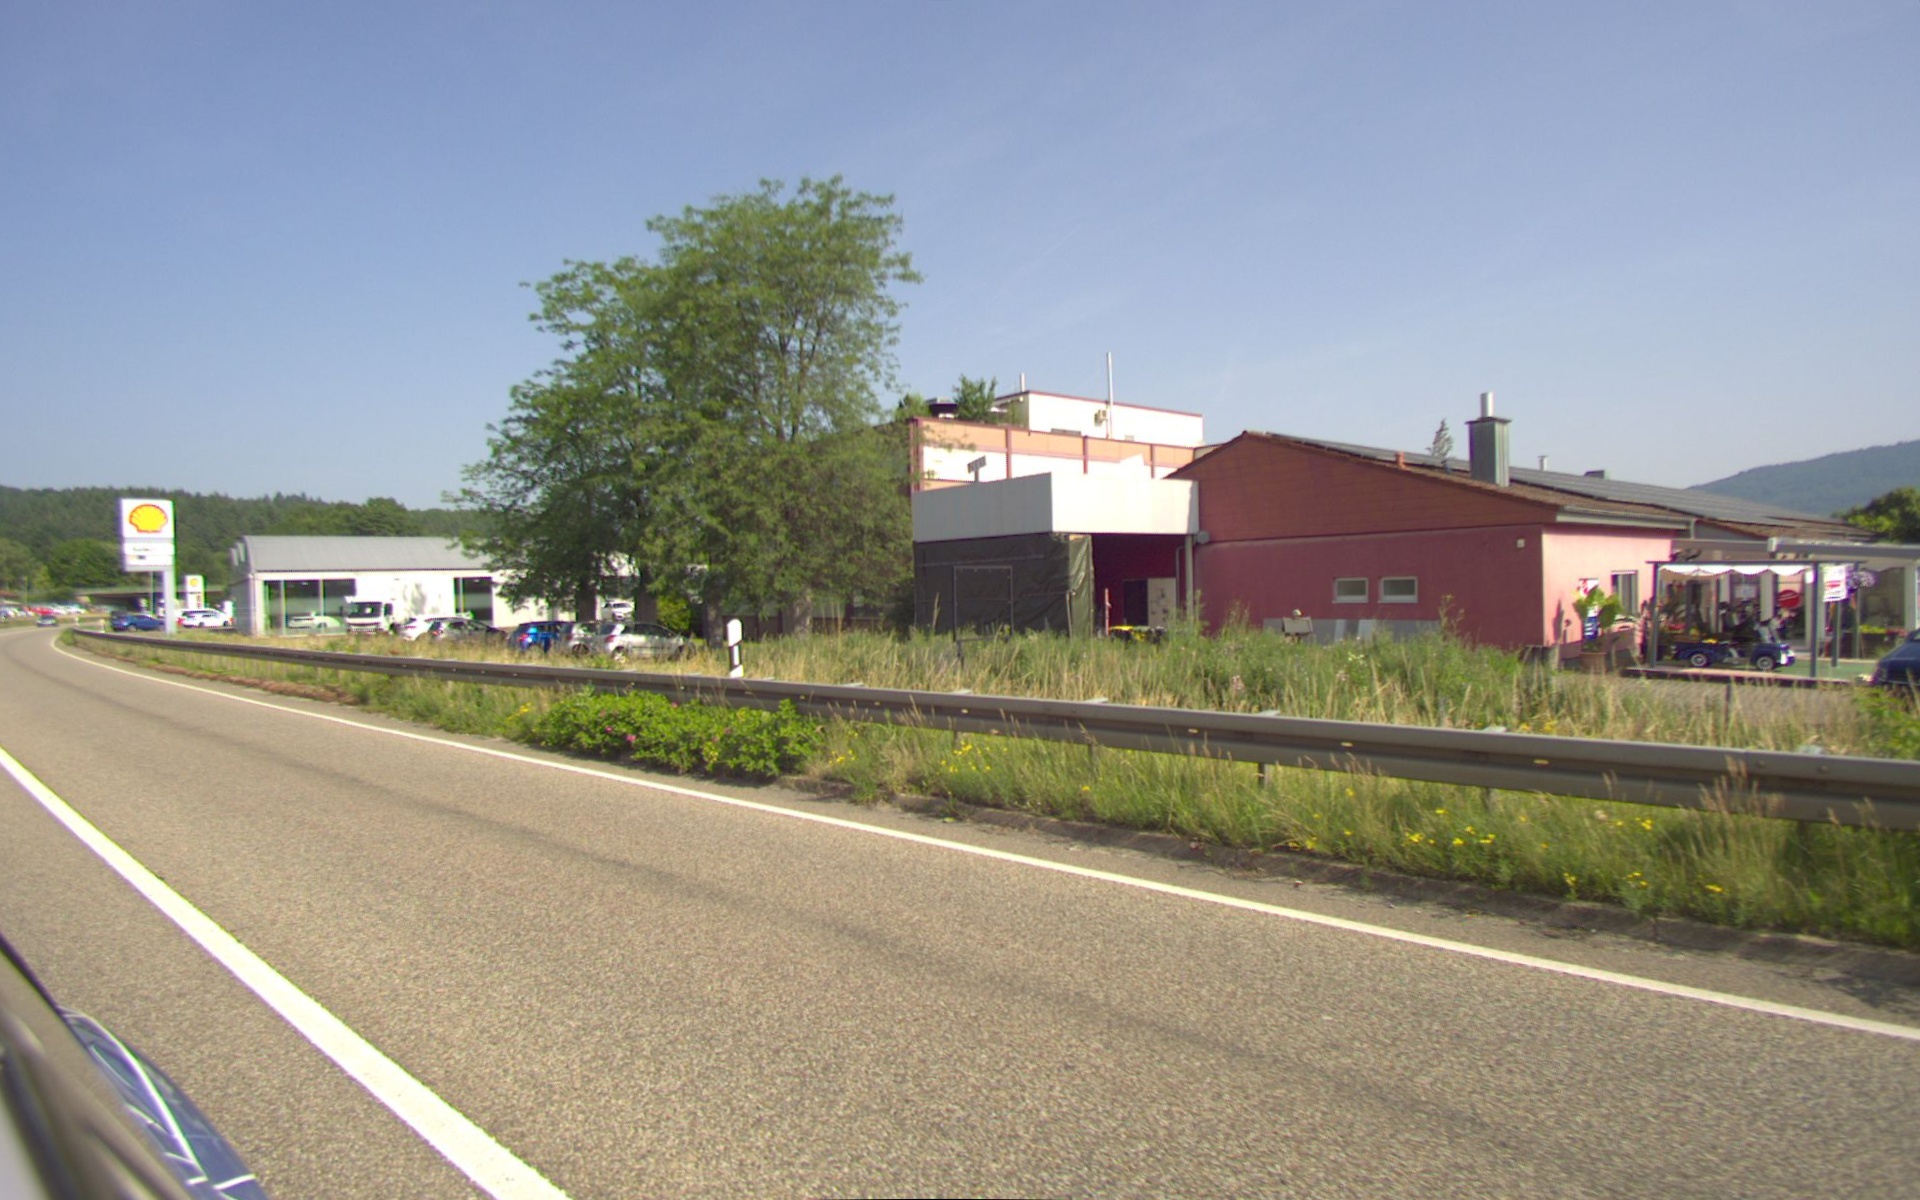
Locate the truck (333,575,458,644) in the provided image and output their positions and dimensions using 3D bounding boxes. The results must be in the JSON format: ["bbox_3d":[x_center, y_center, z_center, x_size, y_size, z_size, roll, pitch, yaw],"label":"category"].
[{"bbox_3d":[-32.127,0.472,58.015,2.766,3.583,8.216,-2,0,-2],"label":"truck"}]

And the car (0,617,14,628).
[{"bbox_3d":[-134.336,3.151,140.620,3.983,1.518,1.811,0,-1,-30],"label":"car"}]

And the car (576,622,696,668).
[{"bbox_3d":[-11.673,1.582,36.627,1.862,1.471,3.705,-1,0,44],"label":"car"}]

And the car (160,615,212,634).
[{"bbox_3d":[-88.388,2.769,115.647,4.612,1.871,2.148,-3,1,-39],"label":"car"}]

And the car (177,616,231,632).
[{"bbox_3d":[-77.380,2.470,103.622,1.878,1.413,4.216,-1,1,11],"label":"car"}]

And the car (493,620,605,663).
[{"bbox_3d":[-16.447,1.625,40.613,1.933,1.511,3.706,-1,1,44],"label":"car"}]

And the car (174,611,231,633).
[{"bbox_3d":[-80.706,2.324,107.829,4.732,1.996,2.233,-4,1,-39],"label":"car"}]

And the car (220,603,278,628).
[{"bbox_3d":[-86.620,1.899,123.376,5.647,2.765,2.290,-3,1,-37],"label":"car"}]

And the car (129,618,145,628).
[{"bbox_3d":[-142.138,3.926,174.836,1.768,1.642,4.237,1,-1,-35],"label":"car"}]

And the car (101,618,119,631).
[{"bbox_3d":[-128.489,3.744,152.958,1.889,1.899,4.920,1,-1,-38],"label":"car"}]

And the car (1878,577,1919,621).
[{"bbox_3d":[37.061,-0.056,37.258,1.716,1.620,4.637,-1,-1,-41],"label":"car"}]

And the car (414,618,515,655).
[{"bbox_3d":[-22.800,1.641,46.615,1.932,1.511,3.708,-1,1,42],"label":"car"}]

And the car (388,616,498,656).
[{"bbox_3d":[-24.778,1.667,48.594,1.932,1.667,4.304,-1,1,42],"label":"car"}]

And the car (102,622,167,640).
[{"bbox_3d":[-73.976,2.773,90.743,1.964,1.518,4.217,-1,-1,11],"label":"car"}]

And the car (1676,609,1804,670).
[{"bbox_3d":[15.980,0.775,20.766,2.017,1.154,0.805,0,1,44],"label":"car"}]

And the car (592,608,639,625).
[{"bbox_3d":[-25.675,1.248,75.323,1.702,1.209,4.002,-1,0,-45],"label":"car"}]

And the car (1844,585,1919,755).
[{"bbox_3d":[13.858,0.798,12.338,4.826,2.029,2.004,-1,-1,-10],"label":"car"}]

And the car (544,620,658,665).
[{"bbox_3d":[-13.822,1.591,39.027,3.700,1.511,1.861,-2,1,-39],"label":"car"}]
